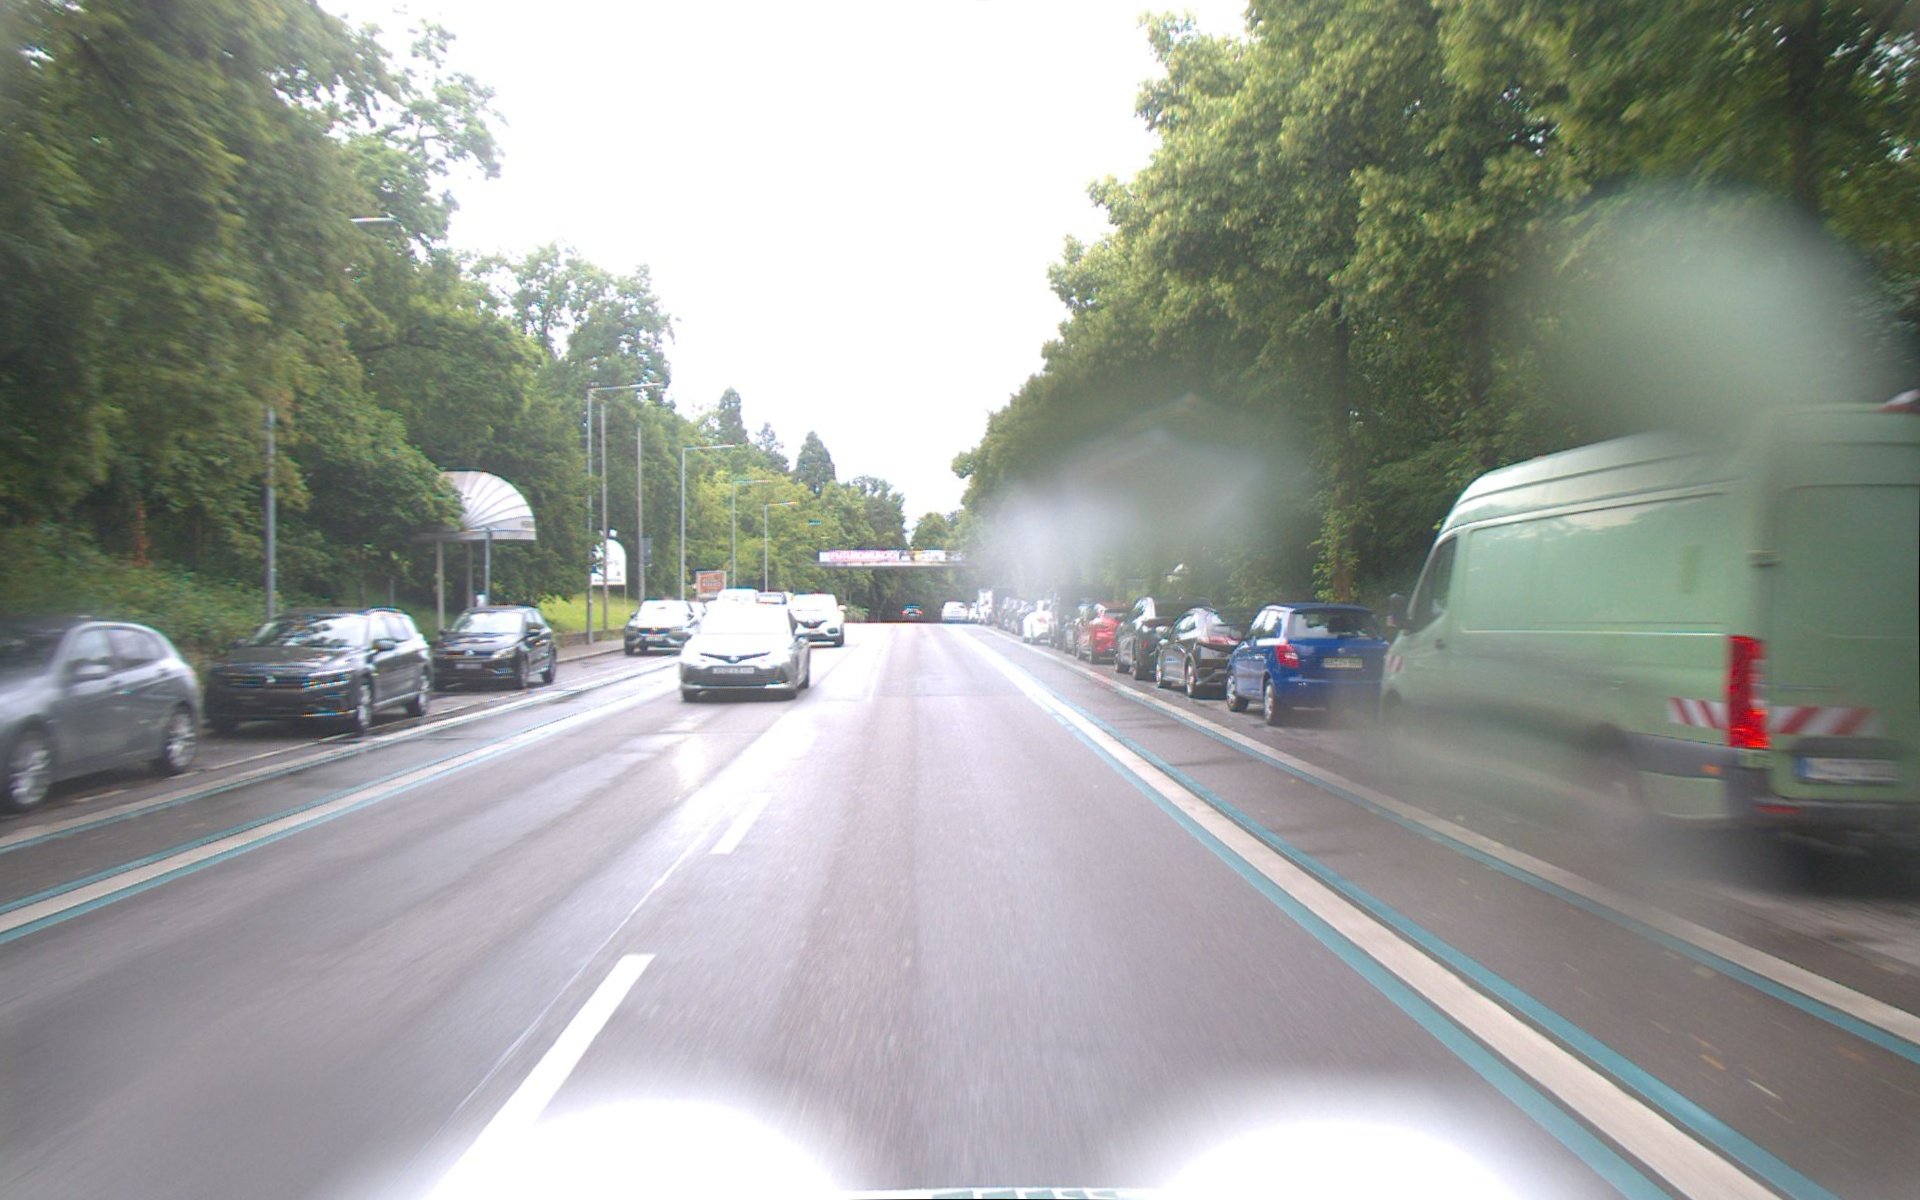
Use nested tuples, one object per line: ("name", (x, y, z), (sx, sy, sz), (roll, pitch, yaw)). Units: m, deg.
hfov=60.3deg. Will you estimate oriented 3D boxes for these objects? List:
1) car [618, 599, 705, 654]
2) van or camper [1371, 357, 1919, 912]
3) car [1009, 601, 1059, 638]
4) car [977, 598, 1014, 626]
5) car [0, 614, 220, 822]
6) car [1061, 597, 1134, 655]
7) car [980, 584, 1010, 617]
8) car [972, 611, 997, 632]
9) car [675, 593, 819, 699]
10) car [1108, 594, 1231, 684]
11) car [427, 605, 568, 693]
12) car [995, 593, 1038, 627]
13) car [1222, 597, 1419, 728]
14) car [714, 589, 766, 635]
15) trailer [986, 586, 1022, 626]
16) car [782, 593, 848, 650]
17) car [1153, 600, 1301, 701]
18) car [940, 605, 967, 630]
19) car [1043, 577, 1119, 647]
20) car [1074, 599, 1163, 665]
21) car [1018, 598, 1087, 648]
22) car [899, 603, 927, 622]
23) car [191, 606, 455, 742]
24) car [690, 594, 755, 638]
("car", (-8.717, 0.734, 48.663), (2.036, 1.508, 4.669), (0, 0, -5))
("van or camper", (4.910, 0.175, 11.815), (2.001, 2.777, 6.898), (1, 0, -2))
("car", (3.113, 0.796, 70.329), (1.697, 1.489, 4.274), (1, 0, -4))
("car", (2.102, 0.693, 98.541), (1.698, 1.611, 4.148), (0, 0, -7))
("car", (-7.999, 0.888, 13.934), (1.748, 1.448, 4.293), (0, 1, -3))
("car", (3.749, 0.694, 45.499), (1.573, 1.478, 3.746), (1, 0, -2))
("car", (2.332, 0.042, 111.215), (1.851, 2.164, 4.044), (1, 0, -1))
("car", (1.806, 1.580, 123.226), (1.696, 1.488, 4.044), (0, 0, -1))
("car", (-3.384, 0.686, 27.039), (1.882, 1.588, 4.619), (0, 0, -2))
("car", (4.056, 0.709, 32.705), (1.721, 1.617, 4.497), (1, 0, -2))
("car", (-8.512, 0.855, 30.741), (1.637, 1.483, 3.991), (0, 0, -3))
("car", (2.794, 0.475, 82.248), (1.697, 1.611, 4.151), (1, 0, -4))
("car", (4.671, 0.749, 21.955), (1.652, 1.540, 3.834), (1, 0, -2))
("car", (-9.783, 0.509, 73.925), (1.874, 1.965, 4.925), (0, 1, -3))
("trailer", (2.474, 0.351, 94.441), (1.845, 2.204, 3.807), (0, 0, -1))
("car", (-4.545, 0.634, 52.180), (1.759, 1.680, 4.128), (-1, 0, -1))
("car", (4.347, 0.777, 27.476), (1.652, 1.481, 4.145), (1, 0, -2))
("car", (-0.430, 1.186, 111.607), (1.696, 1.611, 4.035), (0, 0, -2))
("car", (3.704, 0.352, 51.320), (1.887, 2.057, 4.662), (0, 0, -2))
("car", (3.834, 0.752, 40.616), (1.652, 1.478, 4.164), (1, 0, -2))
("car", (3.106, 0.753, 56.184), (1.753, 1.570, 4.886), (1, 0, -4))
("car", (-3.951, 1.038, 138.187), (2.098, 1.518, 4.493), (1, 0, -5))
("car", (-8.082, 0.873, 21.501), (1.918, 1.488, 4.752), (0, 1, -5))
("car", (-9.671, 0.625, 67.693), (1.950, 1.633, 4.984), (-1, 1, -1))
